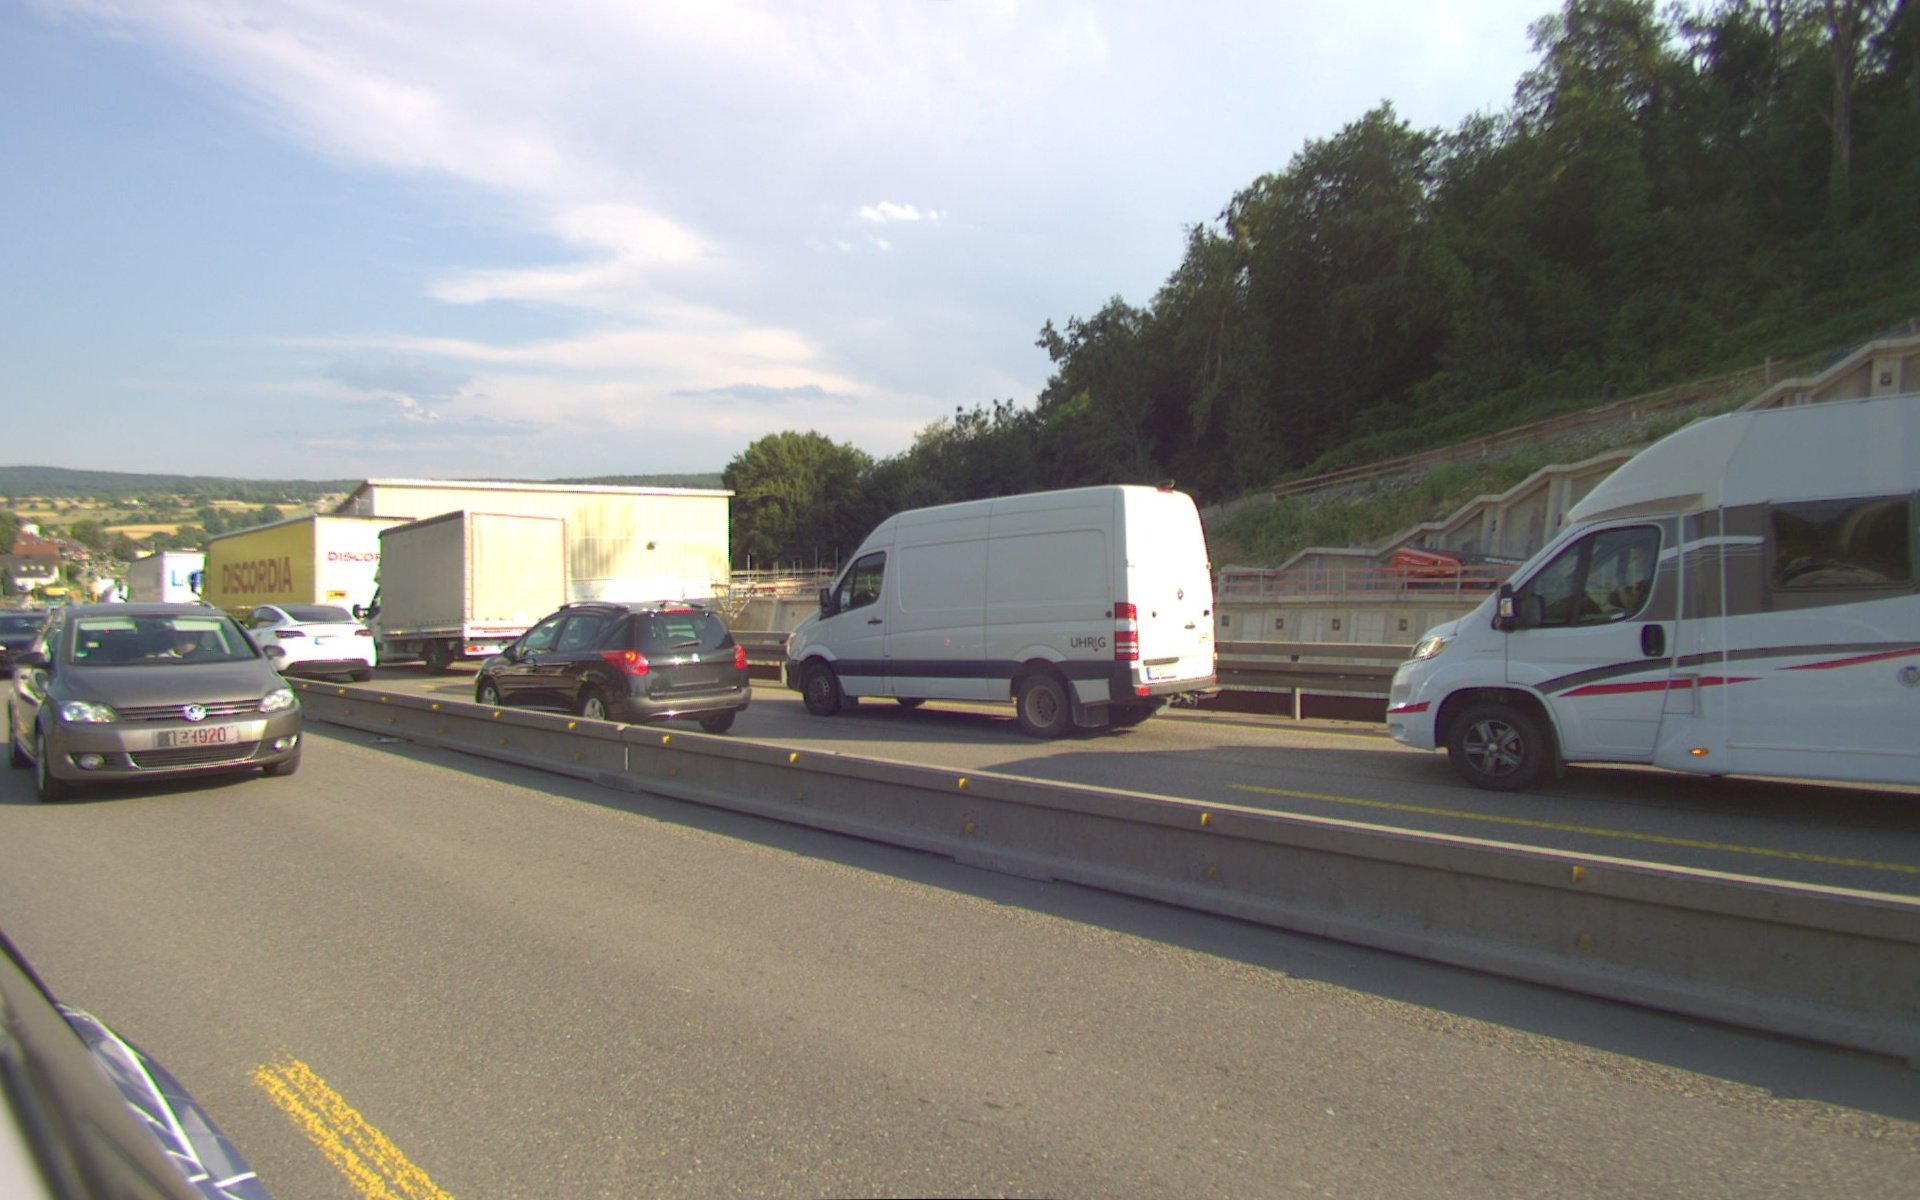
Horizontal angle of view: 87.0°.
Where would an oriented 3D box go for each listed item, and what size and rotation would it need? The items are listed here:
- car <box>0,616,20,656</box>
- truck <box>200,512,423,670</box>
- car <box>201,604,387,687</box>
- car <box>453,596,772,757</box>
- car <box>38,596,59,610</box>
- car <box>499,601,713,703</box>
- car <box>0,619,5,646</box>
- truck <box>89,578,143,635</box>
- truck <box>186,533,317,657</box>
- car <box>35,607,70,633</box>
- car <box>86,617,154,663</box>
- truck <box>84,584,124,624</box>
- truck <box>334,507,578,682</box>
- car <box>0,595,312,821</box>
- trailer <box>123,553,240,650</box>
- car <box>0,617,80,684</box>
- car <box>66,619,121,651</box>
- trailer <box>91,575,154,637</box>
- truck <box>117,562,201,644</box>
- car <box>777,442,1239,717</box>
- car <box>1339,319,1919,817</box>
[{"bbox_3d":[-35.927,1.348,37.418,1.674,1.409,4.003,-2,0,-43],"label":"car"},{"bbox_3d":[-21.071,-0.171,32.220,14.156,4.119,2.677,-1,-1,44],"label":"truck"},{"bbox_3d":[-13.734,0.943,20.764,4.725,1.498,2.036,-2,-4,42],"label":"car"},{"bbox_3d":[-4.186,0.809,11.900,3.998,1.533,1.763,-2,0,41],"label":"car"},{"bbox_3d":[-142.906,0.524,158.712,4.752,2.015,1.798,-2,-3,41],"label":"car"},{"bbox_3d":[-6.184,0.815,17.483,4.000,1.535,1.745,-1,0,41],"label":"car"},{"bbox_3d":[-47.924,1.609,49.548,1.605,1.256,4.003,0,0,-44],"label":"car"},{"bbox_3d":[-60.325,0.455,72.292,2.569,3.917,6.208,0,-1,-44],"label":"truck"},{"bbox_3d":[-25.781,-0.123,36.725,6.102,4.119,2.683,-1,-1,44],"label":"truck"},{"bbox_3d":[-69.826,1.507,77.846,1.841,1.925,4.003,1,-1,-44],"label":"car"},{"bbox_3d":[-30.781,1.423,37.040,1.635,1.535,4.291,-1,0,-44],"label":"car"},{"bbox_3d":[-84.751,0.398,100.134,2.857,3.738,9.502,1,0,-41],"label":"truck"},{"bbox_3d":[-11.916,-0.069,23.529,7.614,3.489,2.421,-1,-1,42],"label":"truck"},{"bbox_3d":[-7.443,0.780,9.173,4.099,1.585,1.665,-1,0,43],"label":"car"},{"bbox_3d":[-37.585,0.118,48.554,2.824,4.066,13.980,0,-1,-44],"label":"trailer"},{"bbox_3d":[-21.761,1.121,23.408,4.002,1.409,1.841,0,-1,45],"label":"car"},{"bbox_3d":[-42.896,1.704,50.060,1.786,1.436,4.677,-1,0,-44],"label":"car"},{"bbox_3d":[-56.998,0.413,68.765,2.566,3.910,10.586,0,-1,-43],"label":"trailer"},{"bbox_3d":[-42.241,0.165,53.298,2.811,4.066,6.105,0,-1,-44],"label":"truck"},{"bbox_3d":[0.317,-0.179,12.377,5.747,2.640,1.935,0,-1,42],"label":"car"},{"bbox_3d":[6.703,-0.183,6.609,7.628,2.940,2.310,0,-1,41],"label":"car"}]
